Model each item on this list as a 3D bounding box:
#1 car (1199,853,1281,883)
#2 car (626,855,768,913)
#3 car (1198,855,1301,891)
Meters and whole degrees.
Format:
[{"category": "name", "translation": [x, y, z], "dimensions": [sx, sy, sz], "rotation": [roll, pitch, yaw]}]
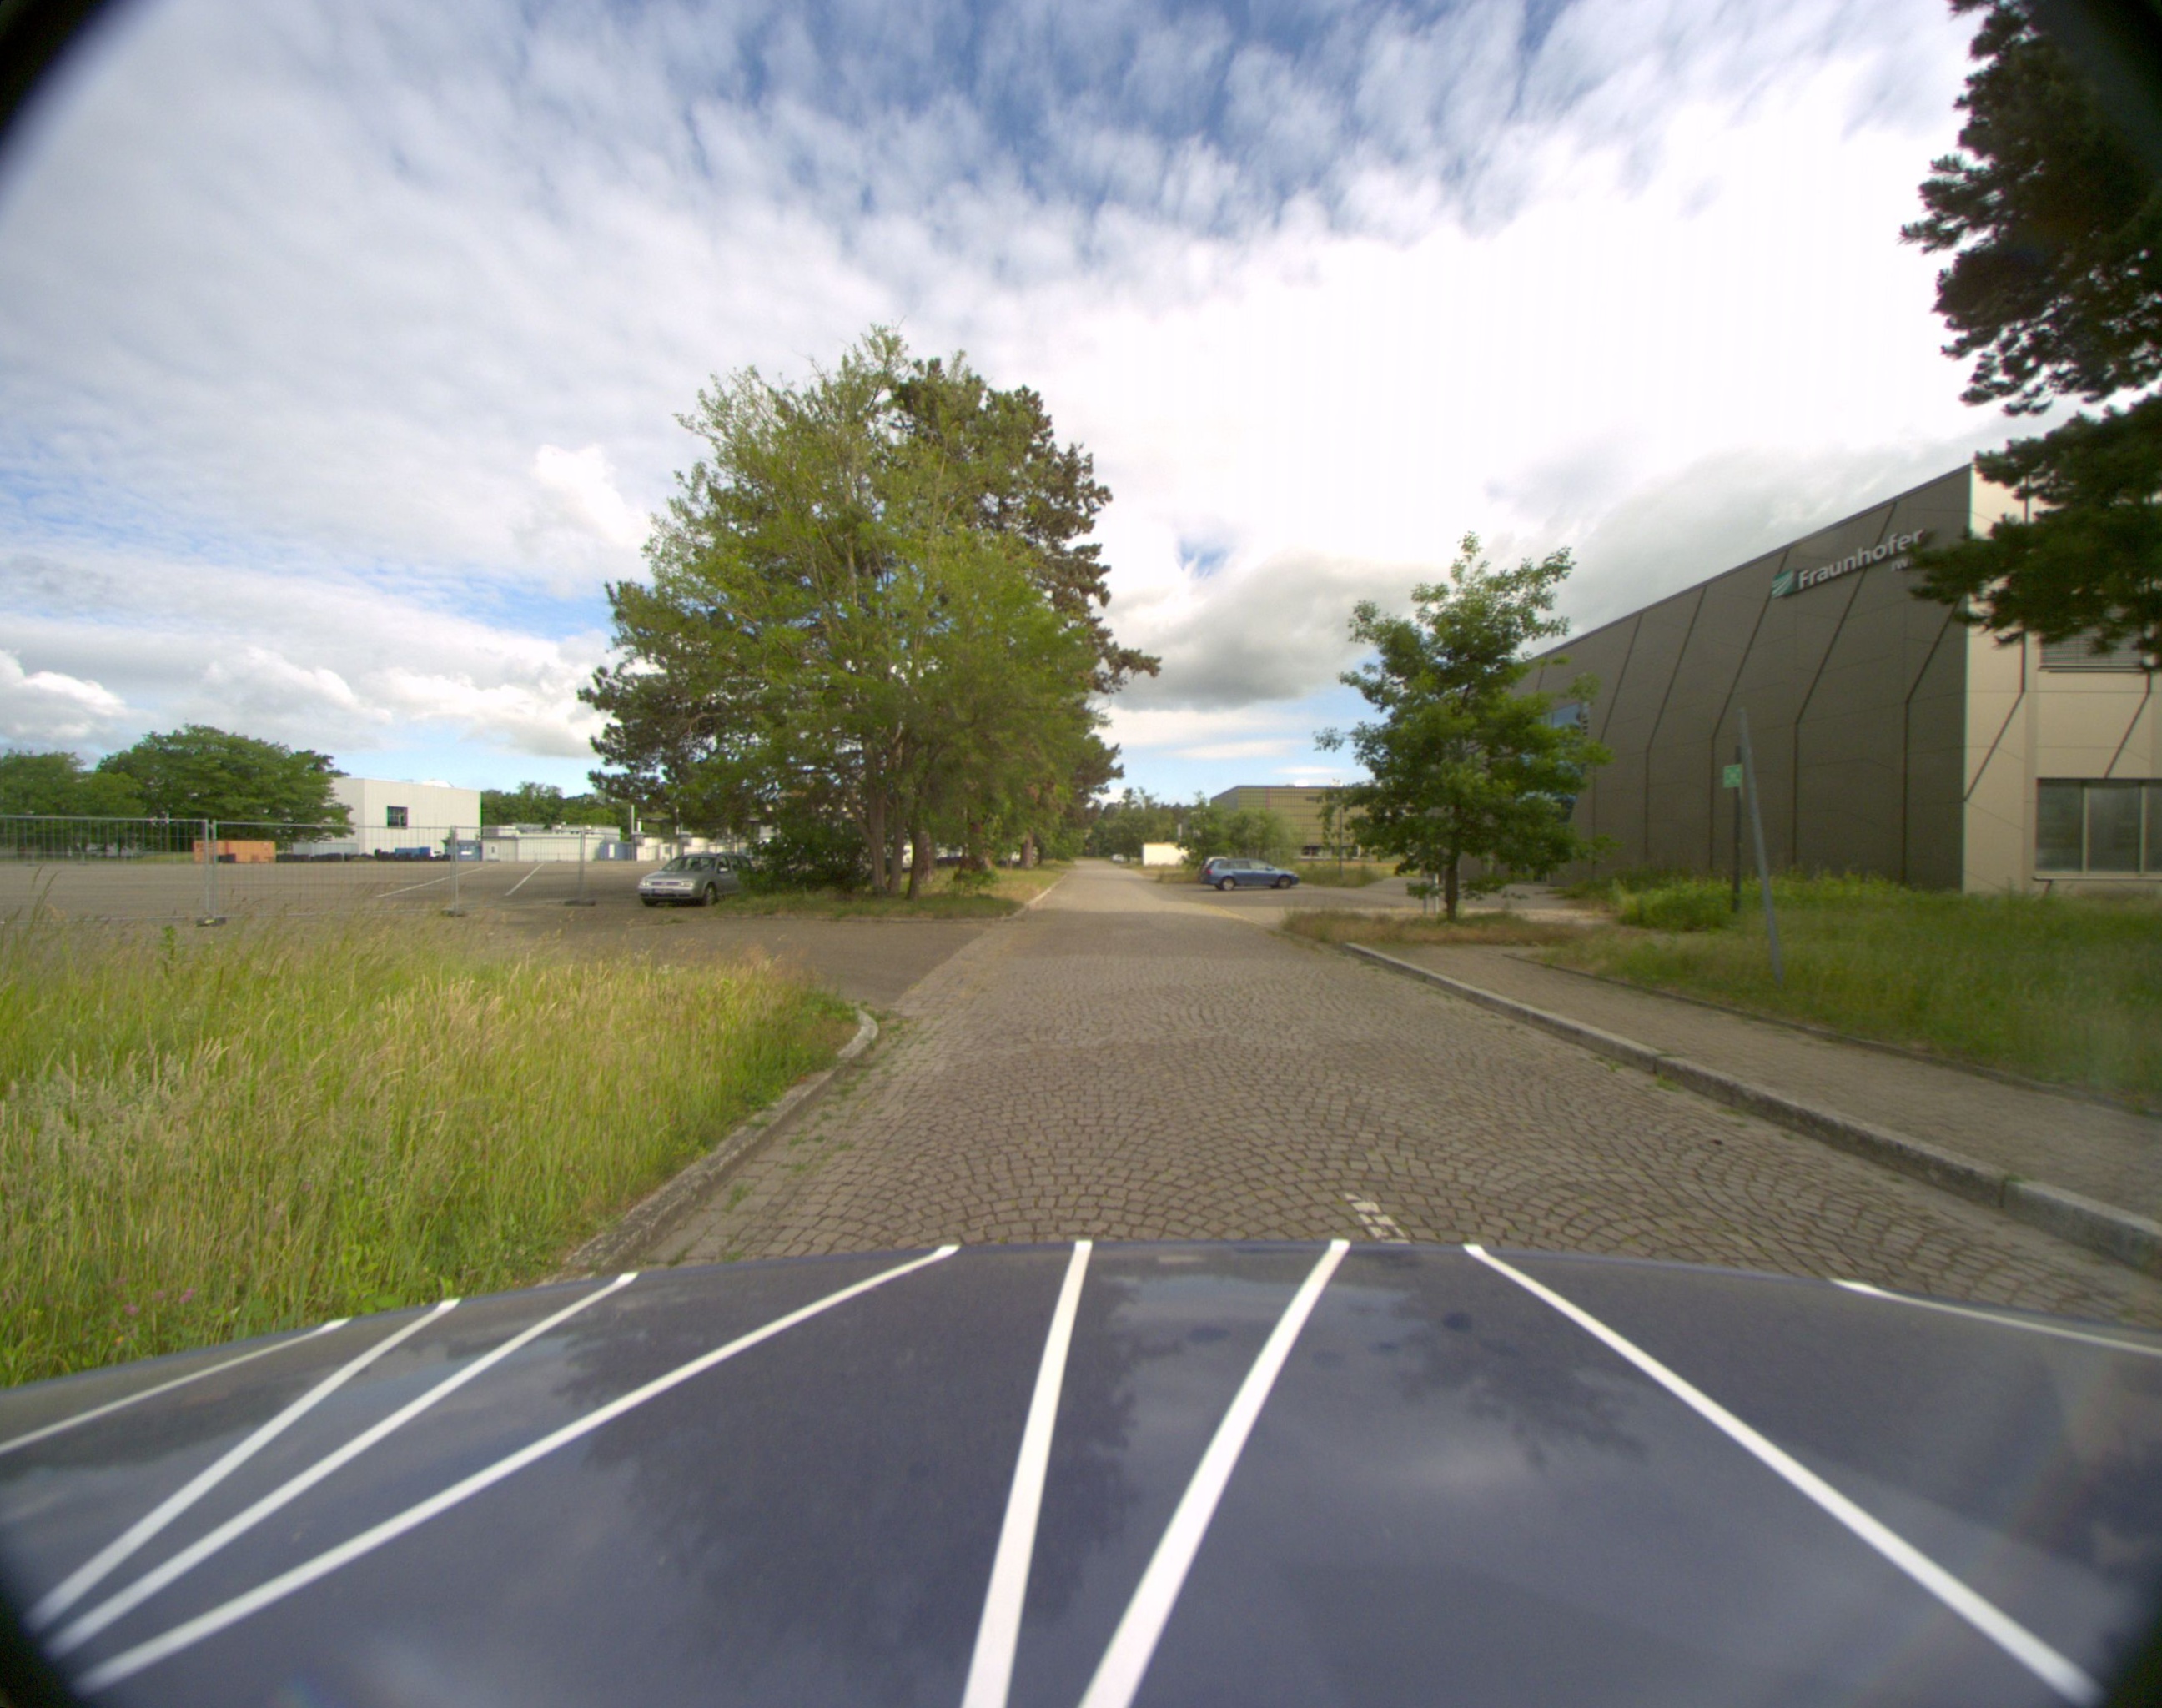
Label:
[{"category": "car", "translation": [8.969, 0.799, 43.246], "dimensions": [4.400, 1.537, 1.842], "rotation": [-2, 0, 7]}, {"category": "car", "translation": [-10.745, 0.765, 21.643], "dimensions": [1.759, 1.440, 4.327], "rotation": [1, 0, 2]}, {"category": "car", "translation": [7.918, 0.894, 35.946], "dimensions": [4.404, 1.501, 1.716], "rotation": [-2, 1, -2]}]
